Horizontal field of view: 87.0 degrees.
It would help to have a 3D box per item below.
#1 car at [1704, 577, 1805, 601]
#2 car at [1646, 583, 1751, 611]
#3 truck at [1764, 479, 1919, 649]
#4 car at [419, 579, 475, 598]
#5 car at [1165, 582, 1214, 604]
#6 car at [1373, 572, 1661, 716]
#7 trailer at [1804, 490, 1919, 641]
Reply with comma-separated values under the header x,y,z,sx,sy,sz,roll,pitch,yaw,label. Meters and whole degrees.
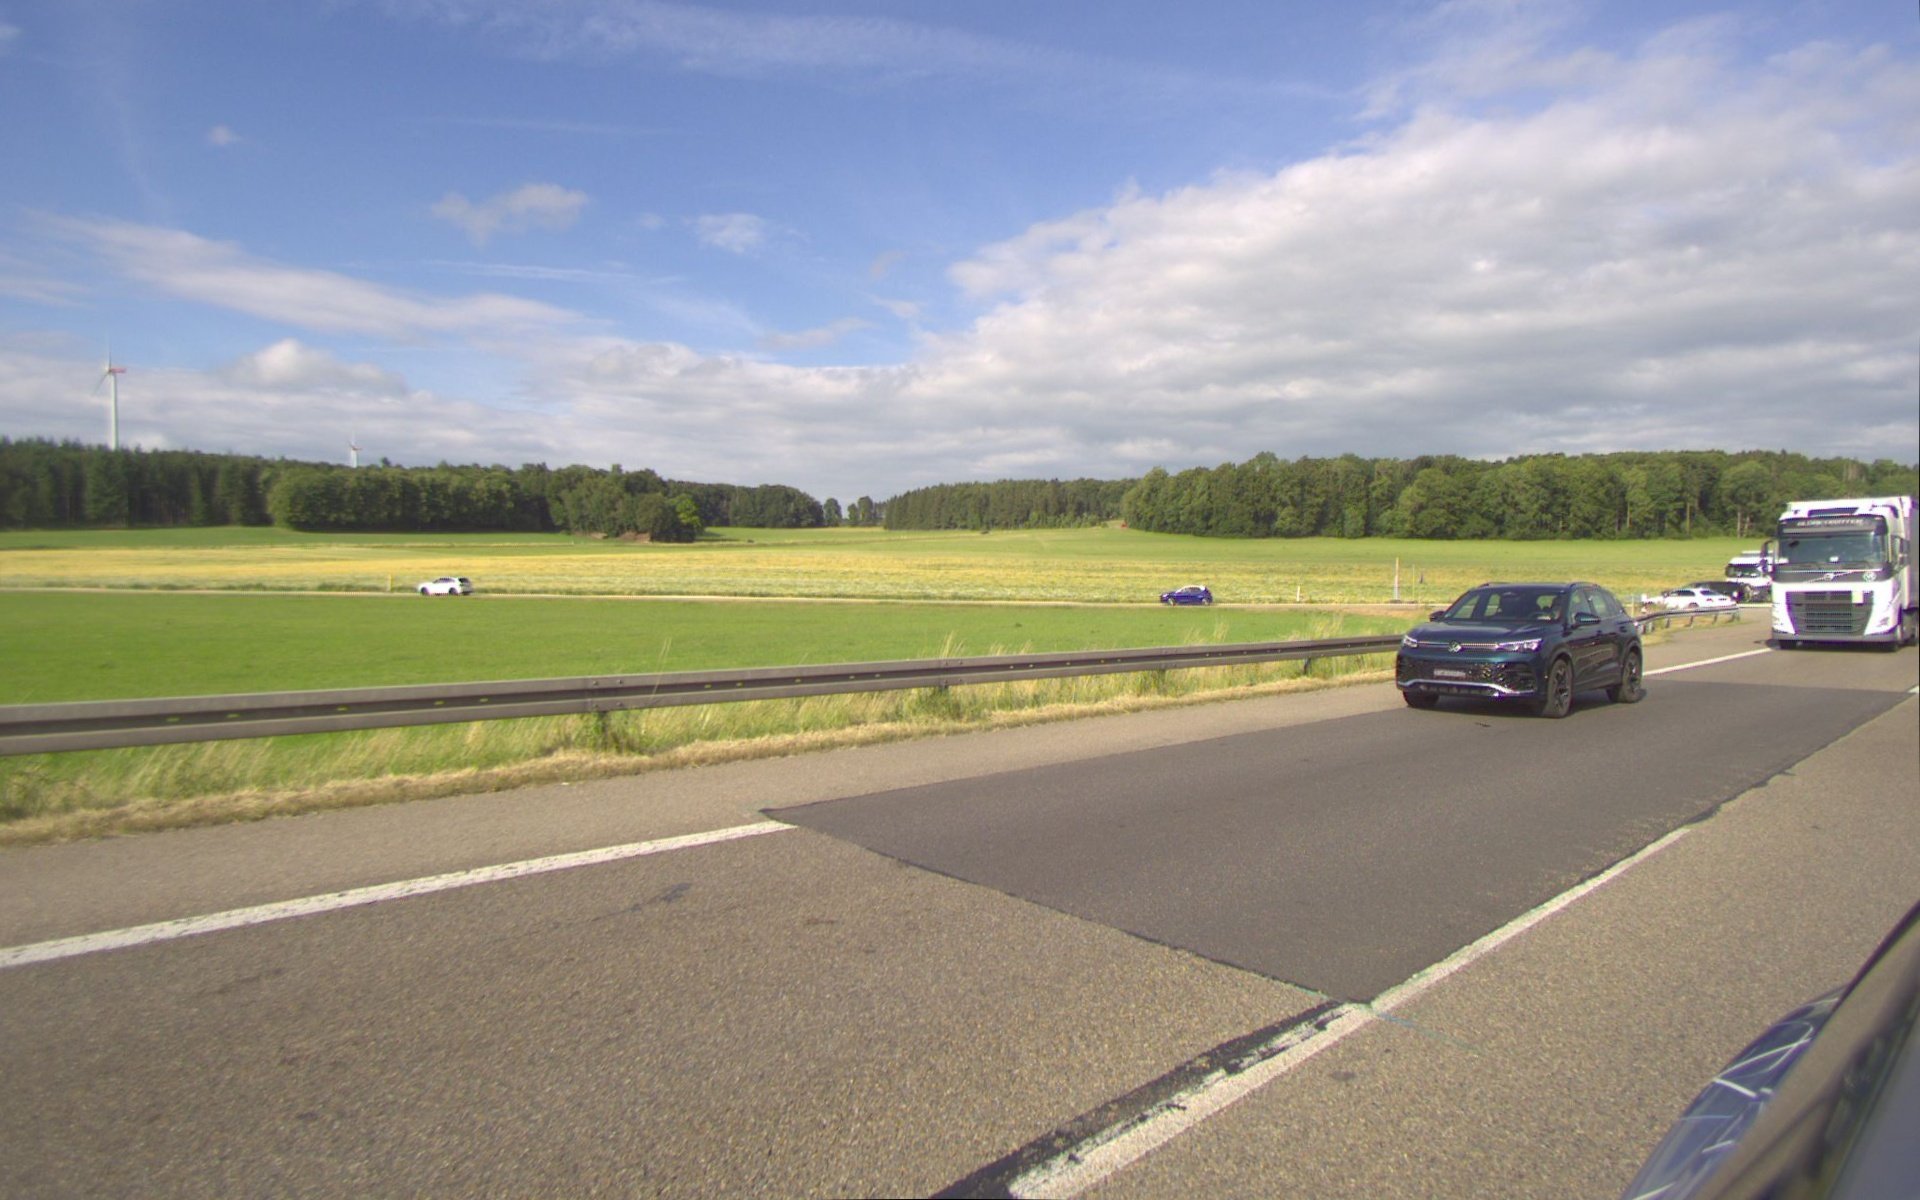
x,y,z,sx,sy,sz,roll,pitch,yaw,label
53.862,-0.747,68.696,5.031,1.576,1.997,0,0,6,car
43.799,-0.183,60.170,1.959,1.565,5.089,-1,1,-9,car
24.200,-0.909,27.162,6.385,4.040,2.841,-1,0,-40,truck
-43.959,-0.978,86.769,3.933,1.638,1.996,0,0,8,car
17.065,-0.535,75.525,3.505,1.549,1.719,0,0,12,car
7.434,0.455,13.364,4.046,1.616,1.998,-1,1,-40,car
29.502,-1.006,31.519,11.912,4.032,2.825,-1,1,-40,trailer
